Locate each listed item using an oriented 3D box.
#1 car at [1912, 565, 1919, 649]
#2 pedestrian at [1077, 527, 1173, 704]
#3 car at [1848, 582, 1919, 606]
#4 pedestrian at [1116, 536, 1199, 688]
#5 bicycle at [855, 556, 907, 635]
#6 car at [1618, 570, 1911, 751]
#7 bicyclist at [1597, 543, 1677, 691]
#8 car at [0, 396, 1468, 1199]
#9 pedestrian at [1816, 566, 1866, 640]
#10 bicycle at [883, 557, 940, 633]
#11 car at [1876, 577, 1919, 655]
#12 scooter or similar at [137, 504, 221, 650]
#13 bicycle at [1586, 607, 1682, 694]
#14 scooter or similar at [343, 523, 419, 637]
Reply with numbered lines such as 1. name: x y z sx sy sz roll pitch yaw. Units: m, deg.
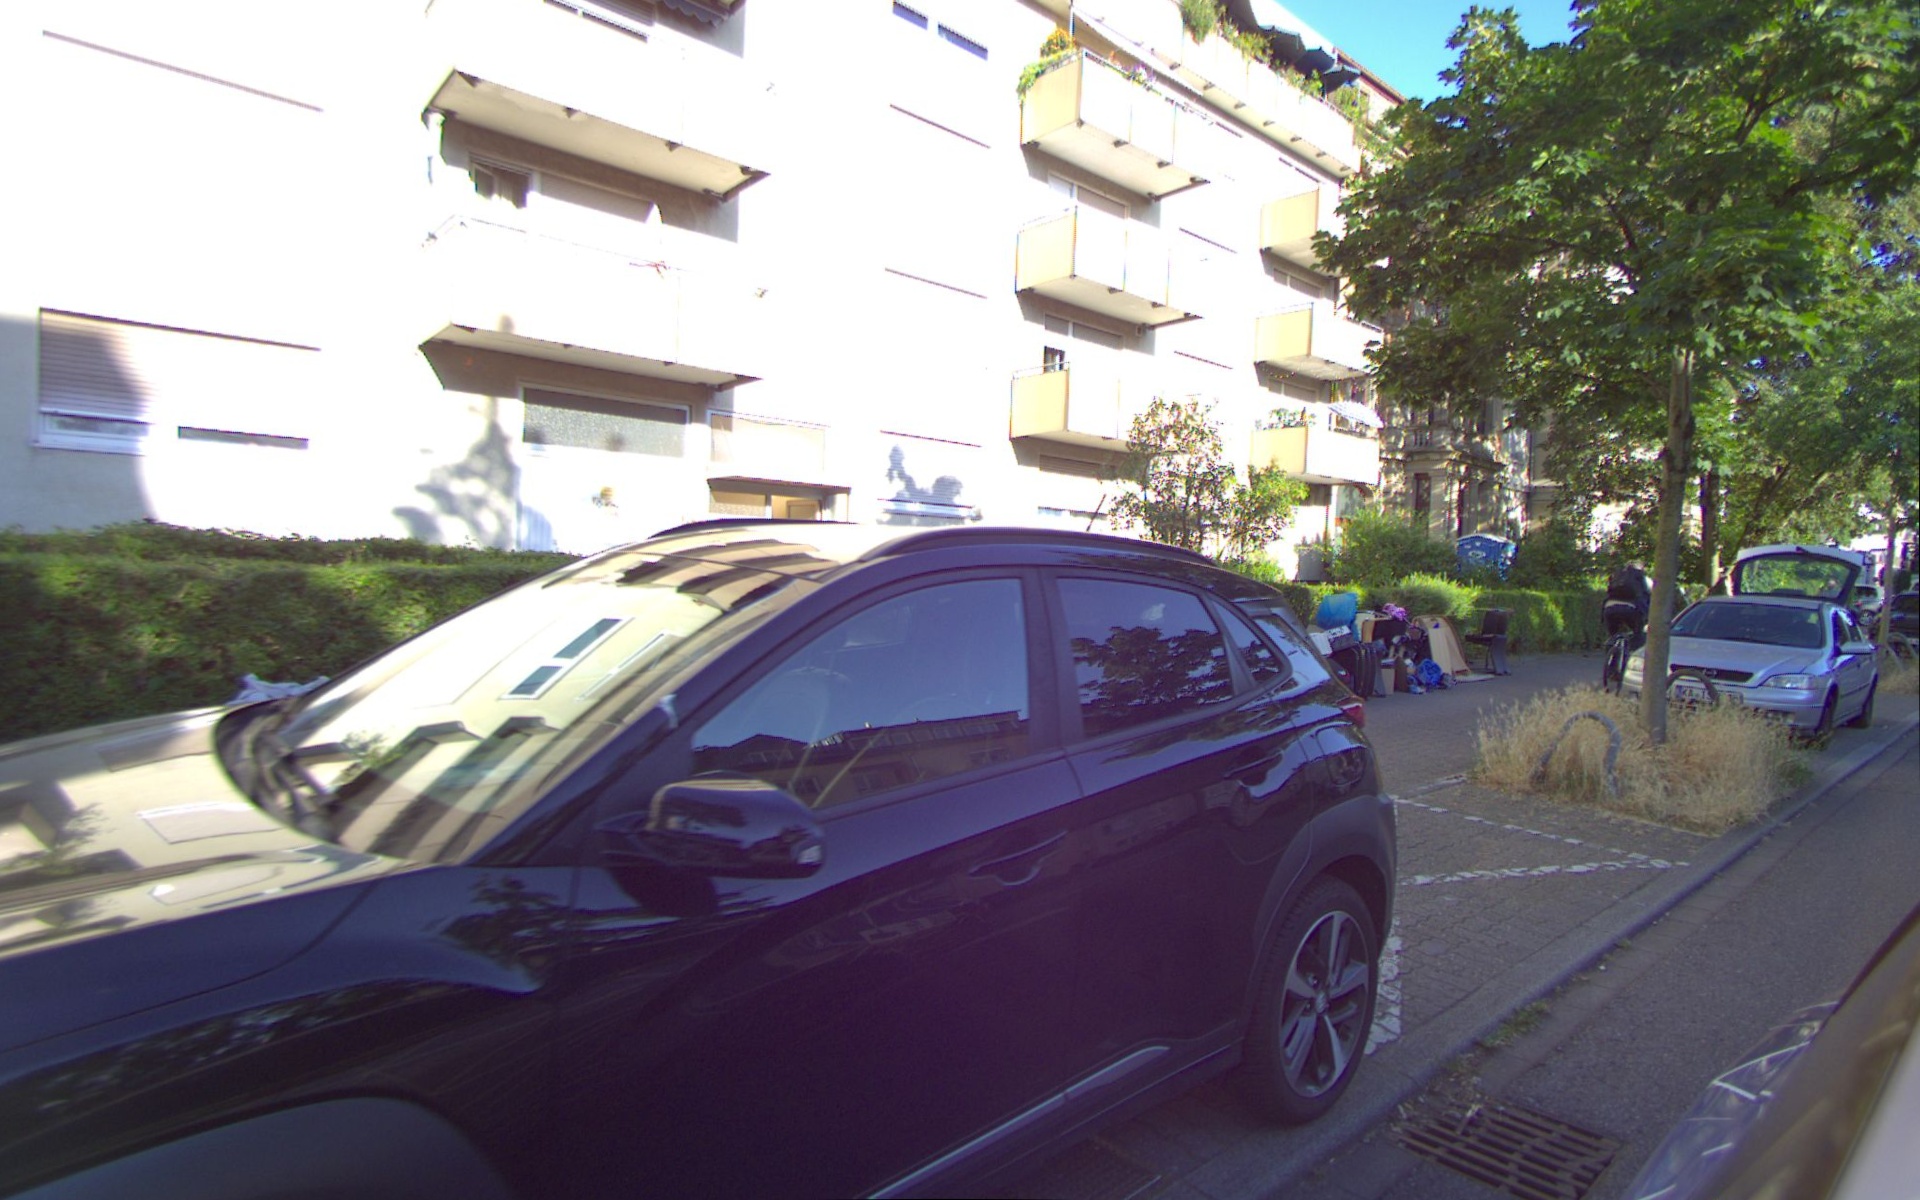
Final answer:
1. car: 26.624 0.200 26.649 4.562 2.129 1.906 0 3 -43
2. pedestrian: 1.602 0.135 9.932 0.743 1.660 0.697 2 2 -4
3. car: 63.528 -0.427 69.374 3.869 1.523 1.550 4 3 45
4. pedestrian: 2.099 0.112 10.808 0.682 1.559 0.594 2 2 -4
5. bicycle: -1.296 -0.111 16.193 0.507 1.154 2.210 1 2 -12
6. car: 8.813 0.510 10.952 4.194 1.498 1.712 0 5 -42
7. bicyclist: 8.581 0.197 12.824 0.837 1.811 0.582 0 2 -41
8. car: -0.626 0.545 2.380 3.944 1.600 1.860 0 4 -42
9. pedestrian: 22.259 0.059 25.568 0.821 1.795 1.071 3 2 45
10. bicycle: -0.827 -0.119 16.563 0.507 1.154 2.210 1 2 -13
11. car: 22.241 0.382 22.786 4.237 1.622 1.860 0 5 -42
12. scooter or similar: -8.173 -0.245 10.593 0.657 1.459 0.616 0 2 -41
13. bicycle: 8.522 0.606 12.770 1.799 0.999 0.517 0 2 -41
14. scooter or similar: -6.805 -0.245 11.889 0.657 1.288 0.616 0 2 -41
